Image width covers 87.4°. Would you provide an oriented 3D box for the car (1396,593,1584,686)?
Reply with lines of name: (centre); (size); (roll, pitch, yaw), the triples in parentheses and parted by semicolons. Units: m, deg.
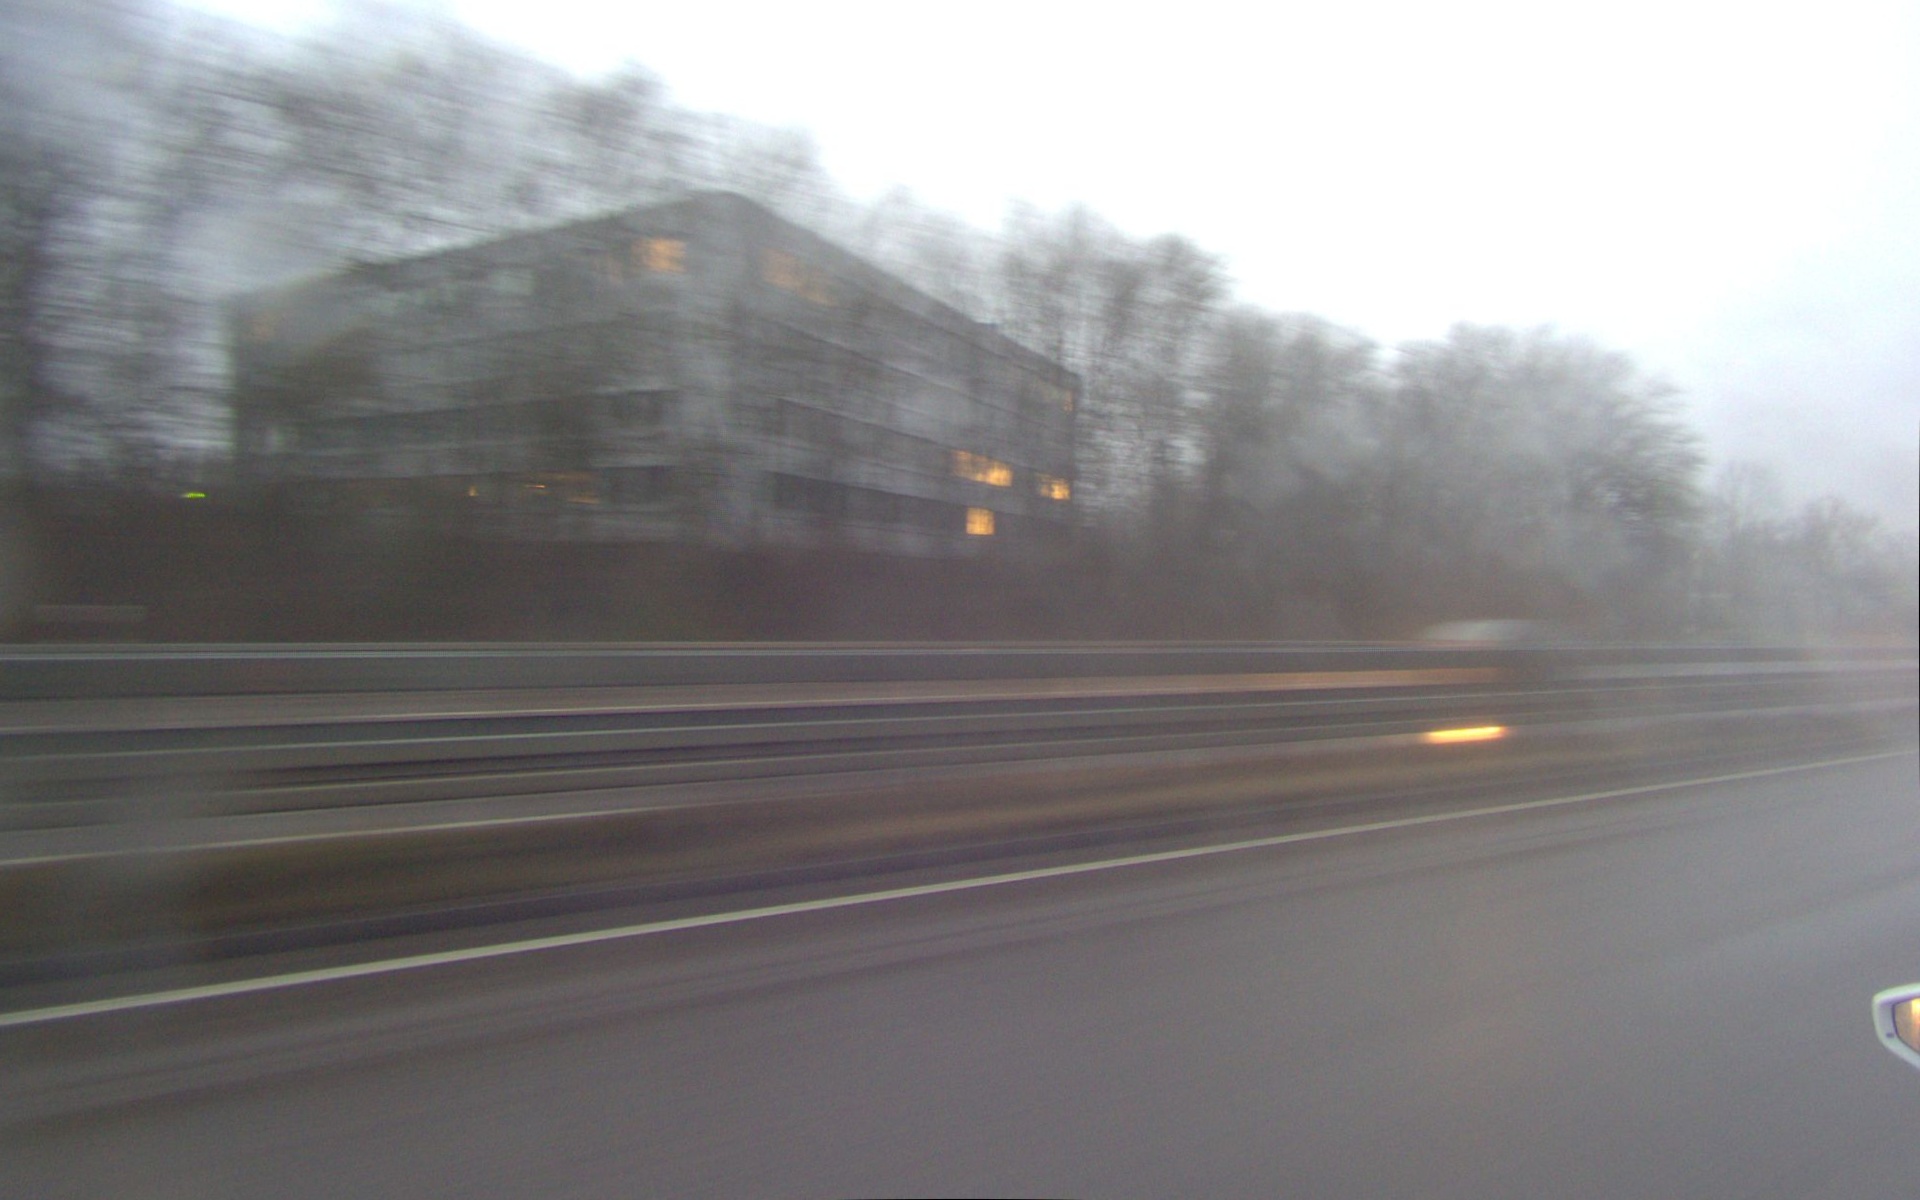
car: (11.709, 0.833, 22.135); (4.157, 1.810, 1.636); (1, 3, -30)
